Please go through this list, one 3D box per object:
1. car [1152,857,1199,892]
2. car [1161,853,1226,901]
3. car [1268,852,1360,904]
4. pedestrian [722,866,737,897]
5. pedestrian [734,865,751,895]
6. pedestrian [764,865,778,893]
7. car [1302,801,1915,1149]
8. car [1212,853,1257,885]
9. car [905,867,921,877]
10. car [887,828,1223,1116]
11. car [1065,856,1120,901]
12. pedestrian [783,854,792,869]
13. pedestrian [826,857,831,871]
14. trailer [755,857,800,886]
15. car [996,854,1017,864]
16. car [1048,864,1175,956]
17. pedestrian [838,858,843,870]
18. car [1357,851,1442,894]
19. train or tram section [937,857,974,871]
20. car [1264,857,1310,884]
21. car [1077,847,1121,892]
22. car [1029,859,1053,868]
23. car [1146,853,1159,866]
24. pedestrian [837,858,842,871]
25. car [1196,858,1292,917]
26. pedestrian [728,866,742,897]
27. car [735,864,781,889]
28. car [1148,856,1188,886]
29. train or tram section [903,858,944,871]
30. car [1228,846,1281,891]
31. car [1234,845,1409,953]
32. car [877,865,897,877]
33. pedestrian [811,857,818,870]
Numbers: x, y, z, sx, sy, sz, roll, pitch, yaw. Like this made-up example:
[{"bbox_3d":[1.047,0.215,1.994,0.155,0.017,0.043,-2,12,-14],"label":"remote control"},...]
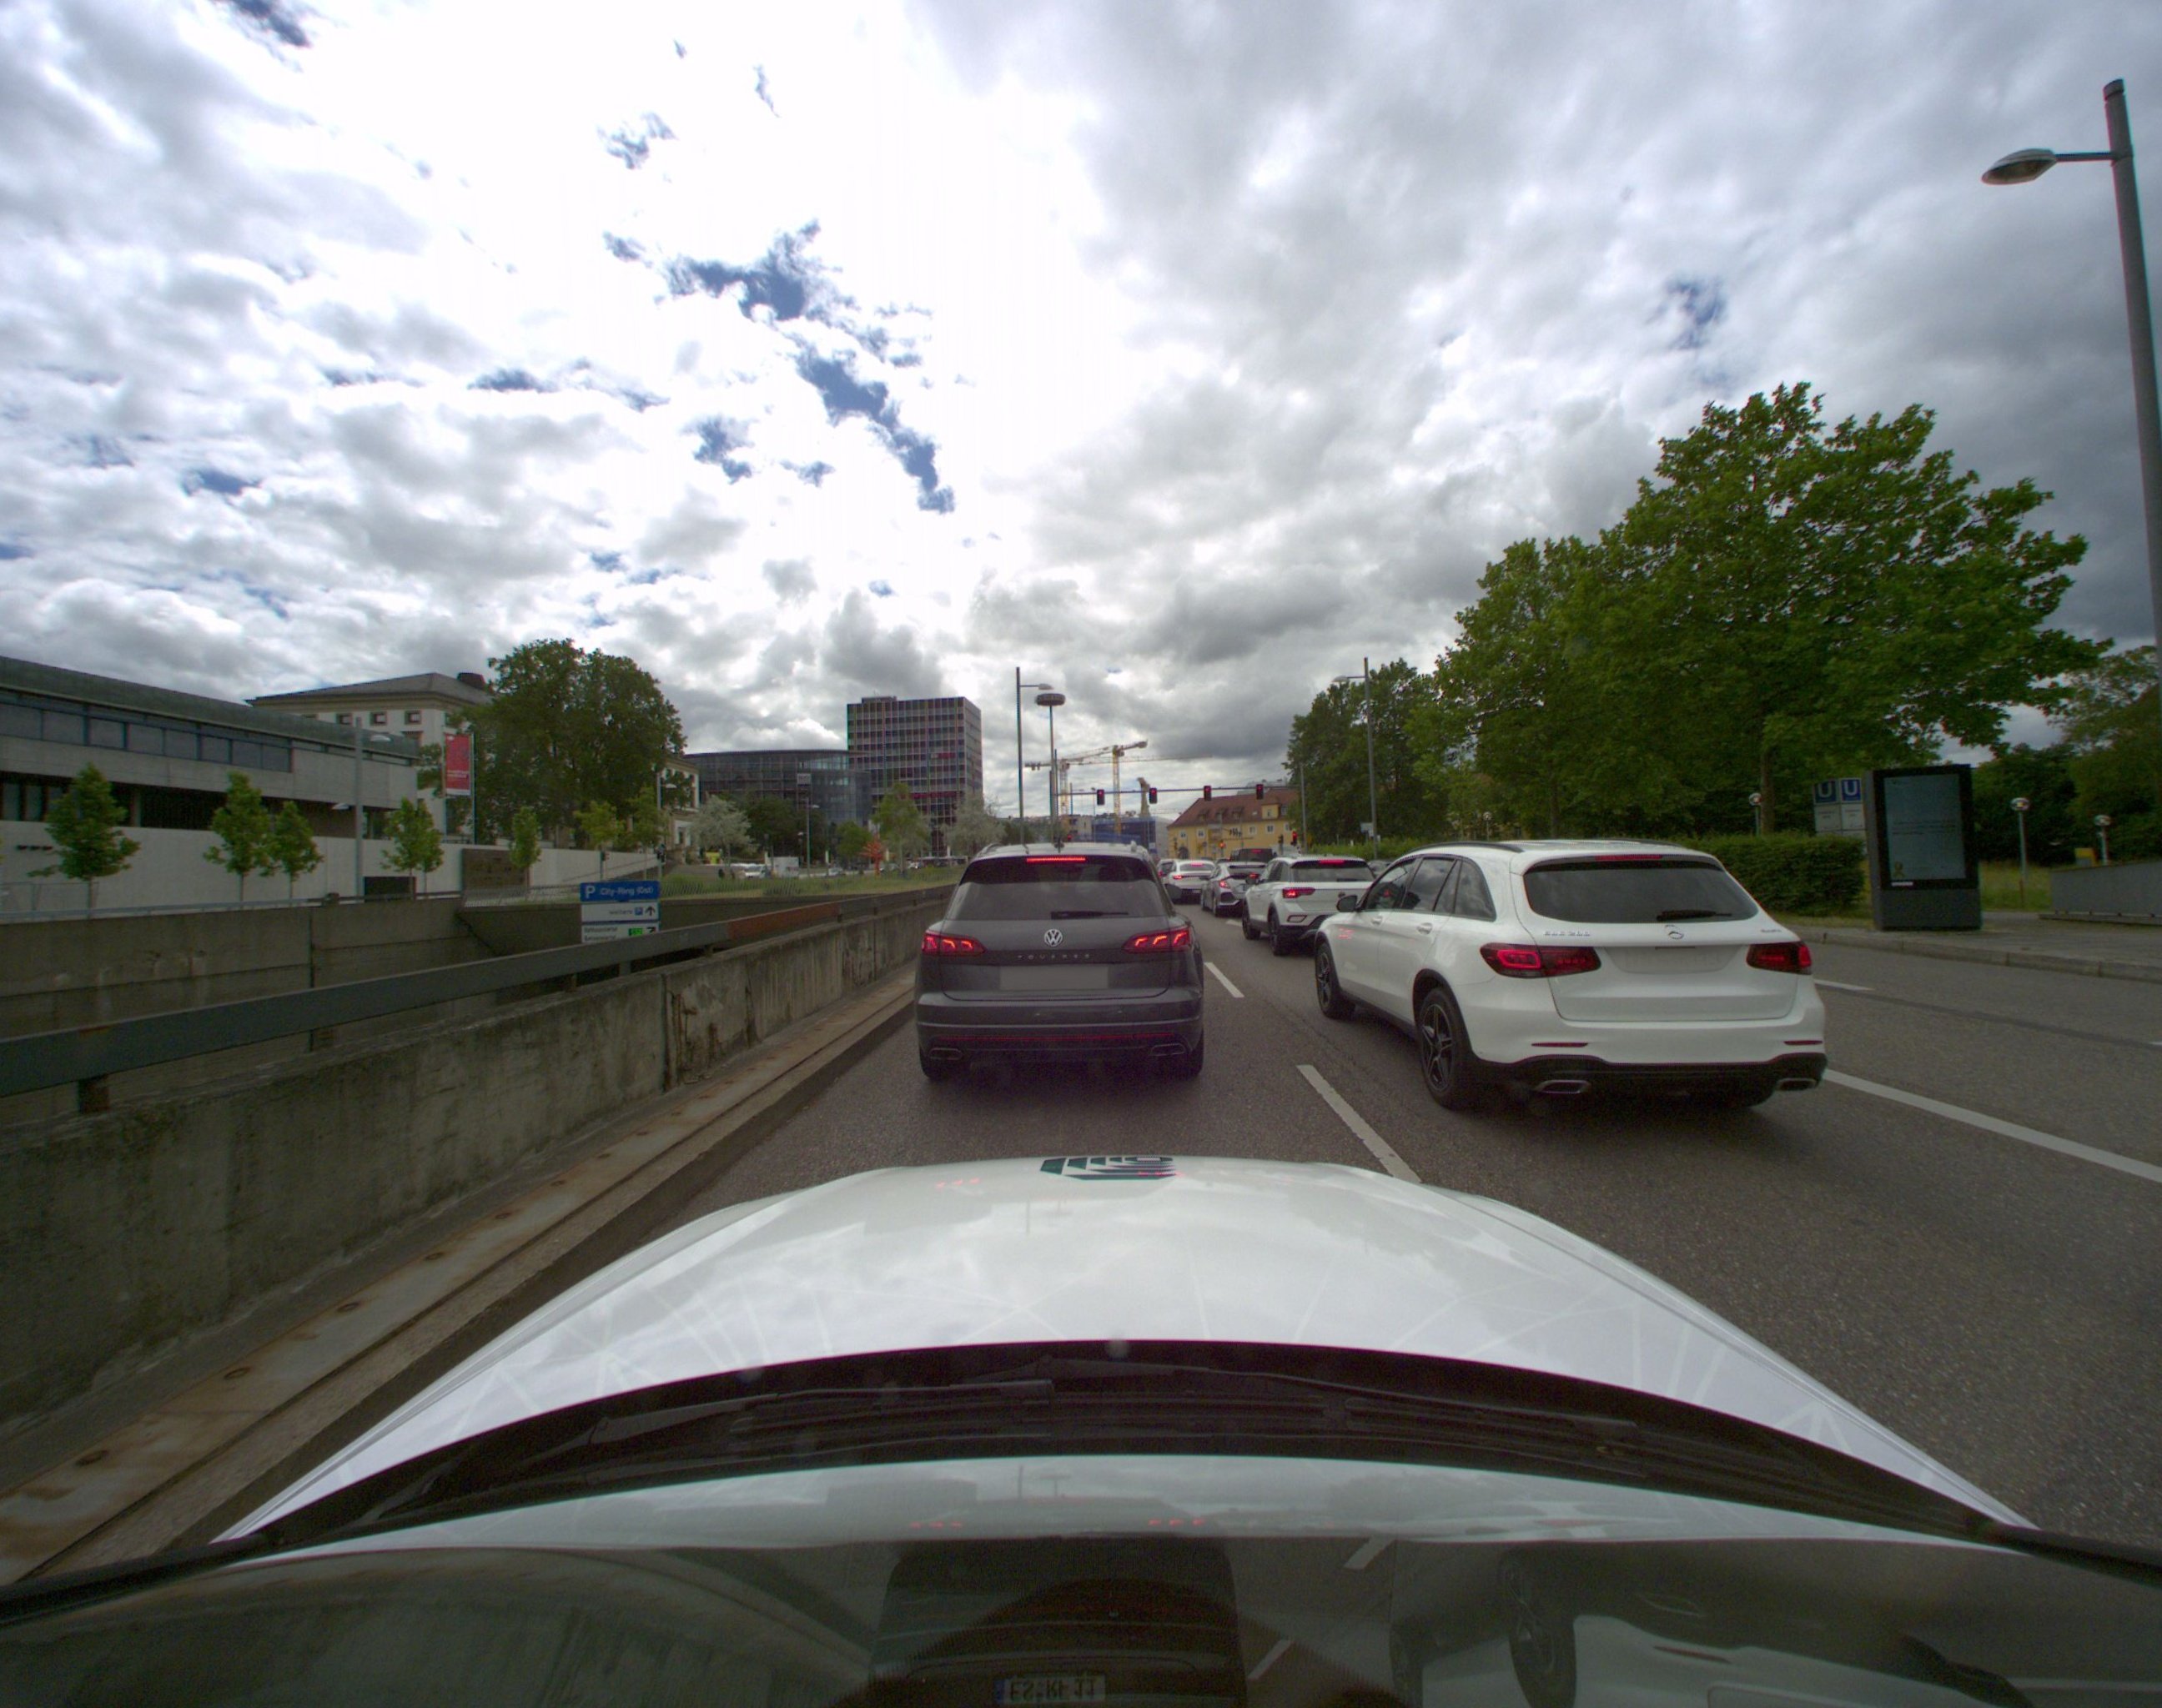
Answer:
[{"bbox_3d":[4.340,0.938,37.775,1.918,1.529,4.050,-1,-1,3],"label":"car"},{"bbox_3d":[3.905,0.795,28.960,1.918,1.529,4.493,-1,-1,3],"label":"car"},{"bbox_3d":[8.055,0.785,28.577,1.987,1.640,4.303,-1,0,0],"label":"car"},{"bbox_3d":[-23.482,1.841,54.414,0.794,2.013,0.830,-2,0,-26],"label":"pedestrian"},{"bbox_3d":[-23.474,1.804,56.516,0.858,2.013,0.628,-2,1,-4],"label":"pedestrian"},{"bbox_3d":[-22.771,1.828,59.873,0.729,2.012,0.628,-2,4,-6],"label":"pedestrian"},{"bbox_3d":[3.156,0.606,6.205,1.918,1.653,4.493,-1,0,3],"label":"car"},{"bbox_3d":[8.344,0.821,44.633,1.902,1.697,4.014,0,-1,3],"label":"car"},{"bbox_3d":[-25.546,2.715,124.082,1.727,1.495,3.594,0,-2,0],"label":"car"},{"bbox_3d":[-0.097,0.705,6.780,1.944,1.651,4.001,-1,0,1],"label":"car"},{"bbox_3d":[0.478,0.875,31.147,1.944,1.600,3.932,0,0,1],"label":"car"},{"bbox_3d":[-40.267,1.029,111.827,0.737,2.013,1.113,-2,1,-3],"label":"pedestrian"},{"bbox_3d":[-39.077,1.540,126.037,0.740,2.013,0.915,-2,1,-17],"label":"pedestrian"},{"bbox_3d":[-28.685,1.590,77.202,2.030,2.604,5.511,0,0,2],"label":"trailer"},{"bbox_3d":[-16.442,1.080,179.887,4.402,2.014,2.012,-1,-2,36],"label":"car"},{"bbox_3d":[0.527,0.881,14.505,1.944,1.384,3.932,0,0,1],"label":"car"},{"bbox_3d":[-40.406,1.728,136.966,0.740,2.013,0.788,-2,1,-18],"label":"pedestrian"},{"bbox_3d":[11.687,0.693,30.189,1.921,1.460,4.536,0,-1,7],"label":"car"},{"bbox_3d":[-29.030,2.329,188.520,8.836,3.010,2.612,-1,-2,30],"label":"train or tram section"},{"bbox_3d":[11.496,0.929,45.645,1.751,1.447,3.633,0,-1,1],"label":"car"},{"bbox_3d":[0.875,0.712,38.680,1.944,2.018,3.932,0,0,1],"label":"car"},{"bbox_3d":[-7.304,1.764,147.629,4.173,1.603,1.764,-1,-2,38],"label":"car"},{"bbox_3d":[9.729,0.799,111.404,1.612,1.627,4.002,0,-2,3],"label":"car"},{"bbox_3d":[-38.023,1.602,128.079,0.740,2.013,0.915,-2,1,-17],"label":"pedestrian"},{"bbox_3d":[4.318,0.852,22.219,1.918,1.432,4.493,-1,-1,3],"label":"car"},{"bbox_3d":[-23.422,1.860,55.100,0.794,2.013,0.830,-2,0,-26],"label":"pedestrian"},{"bbox_3d":[-28.672,1.973,72.557,1.985,2.013,4.695,-2,1,3],"label":"car"},{"bbox_3d":[4.658,0.928,44.060,1.918,1.529,4.050,-1,-1,3],"label":"car"},{"bbox_3d":[-37.333,2.415,193.257,10.296,3.010,2.612,-1,-2,30],"label":"train or tram section"},{"bbox_3d":[8.261,0.686,39.053,1.902,2.014,4.014,0,-1,3],"label":"car"},{"bbox_3d":[3.923,0.693,14.111,1.918,1.551,4.493,-1,-1,3],"label":"car"},{"bbox_3d":[-25.464,2.239,106.994,1.727,1.495,3.594,0,-2,0],"label":"car"},{"bbox_3d":[-41.305,1.464,126.035,0.735,2.013,0.793,-2,1,2],"label":"pedestrian"}]
